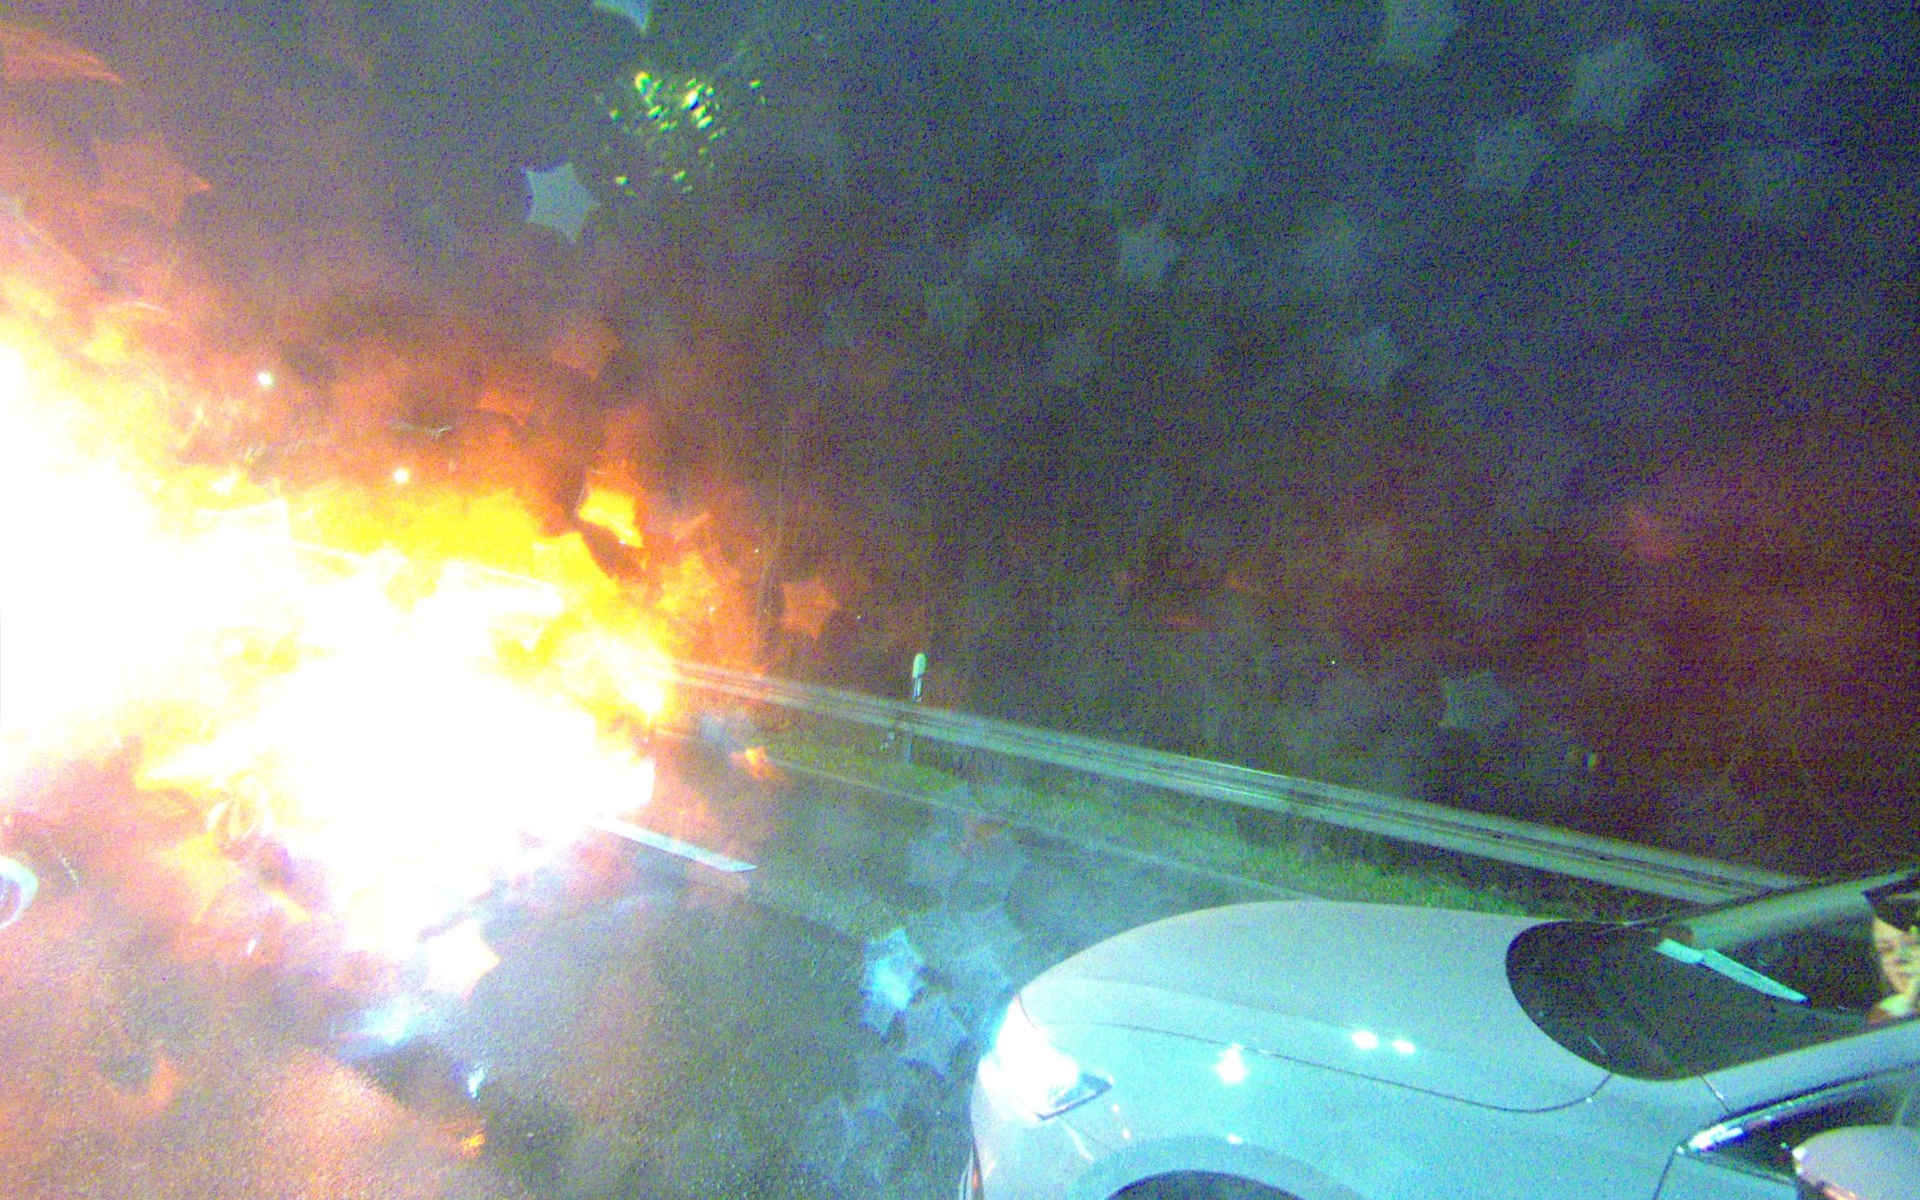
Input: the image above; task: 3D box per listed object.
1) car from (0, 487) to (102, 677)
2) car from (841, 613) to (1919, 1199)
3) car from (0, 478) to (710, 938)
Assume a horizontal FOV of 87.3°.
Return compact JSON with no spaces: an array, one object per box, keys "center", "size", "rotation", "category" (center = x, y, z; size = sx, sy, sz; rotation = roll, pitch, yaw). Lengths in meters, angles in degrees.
[{"center":[-9.681,-0.356,9.008],"size":[3.892,1.539,1.681],"rotation":[6,-2,29],"category":"car"},{"center":[2.074,1.072,1.583],"size":[4.342,1.539,1.710],"rotation":[6,-2,32],"category":"car"},{"center":[-3.733,0.355,5.736],"size":[4.483,1.524,1.676],"rotation":[8,-1,32],"category":"car"}]
